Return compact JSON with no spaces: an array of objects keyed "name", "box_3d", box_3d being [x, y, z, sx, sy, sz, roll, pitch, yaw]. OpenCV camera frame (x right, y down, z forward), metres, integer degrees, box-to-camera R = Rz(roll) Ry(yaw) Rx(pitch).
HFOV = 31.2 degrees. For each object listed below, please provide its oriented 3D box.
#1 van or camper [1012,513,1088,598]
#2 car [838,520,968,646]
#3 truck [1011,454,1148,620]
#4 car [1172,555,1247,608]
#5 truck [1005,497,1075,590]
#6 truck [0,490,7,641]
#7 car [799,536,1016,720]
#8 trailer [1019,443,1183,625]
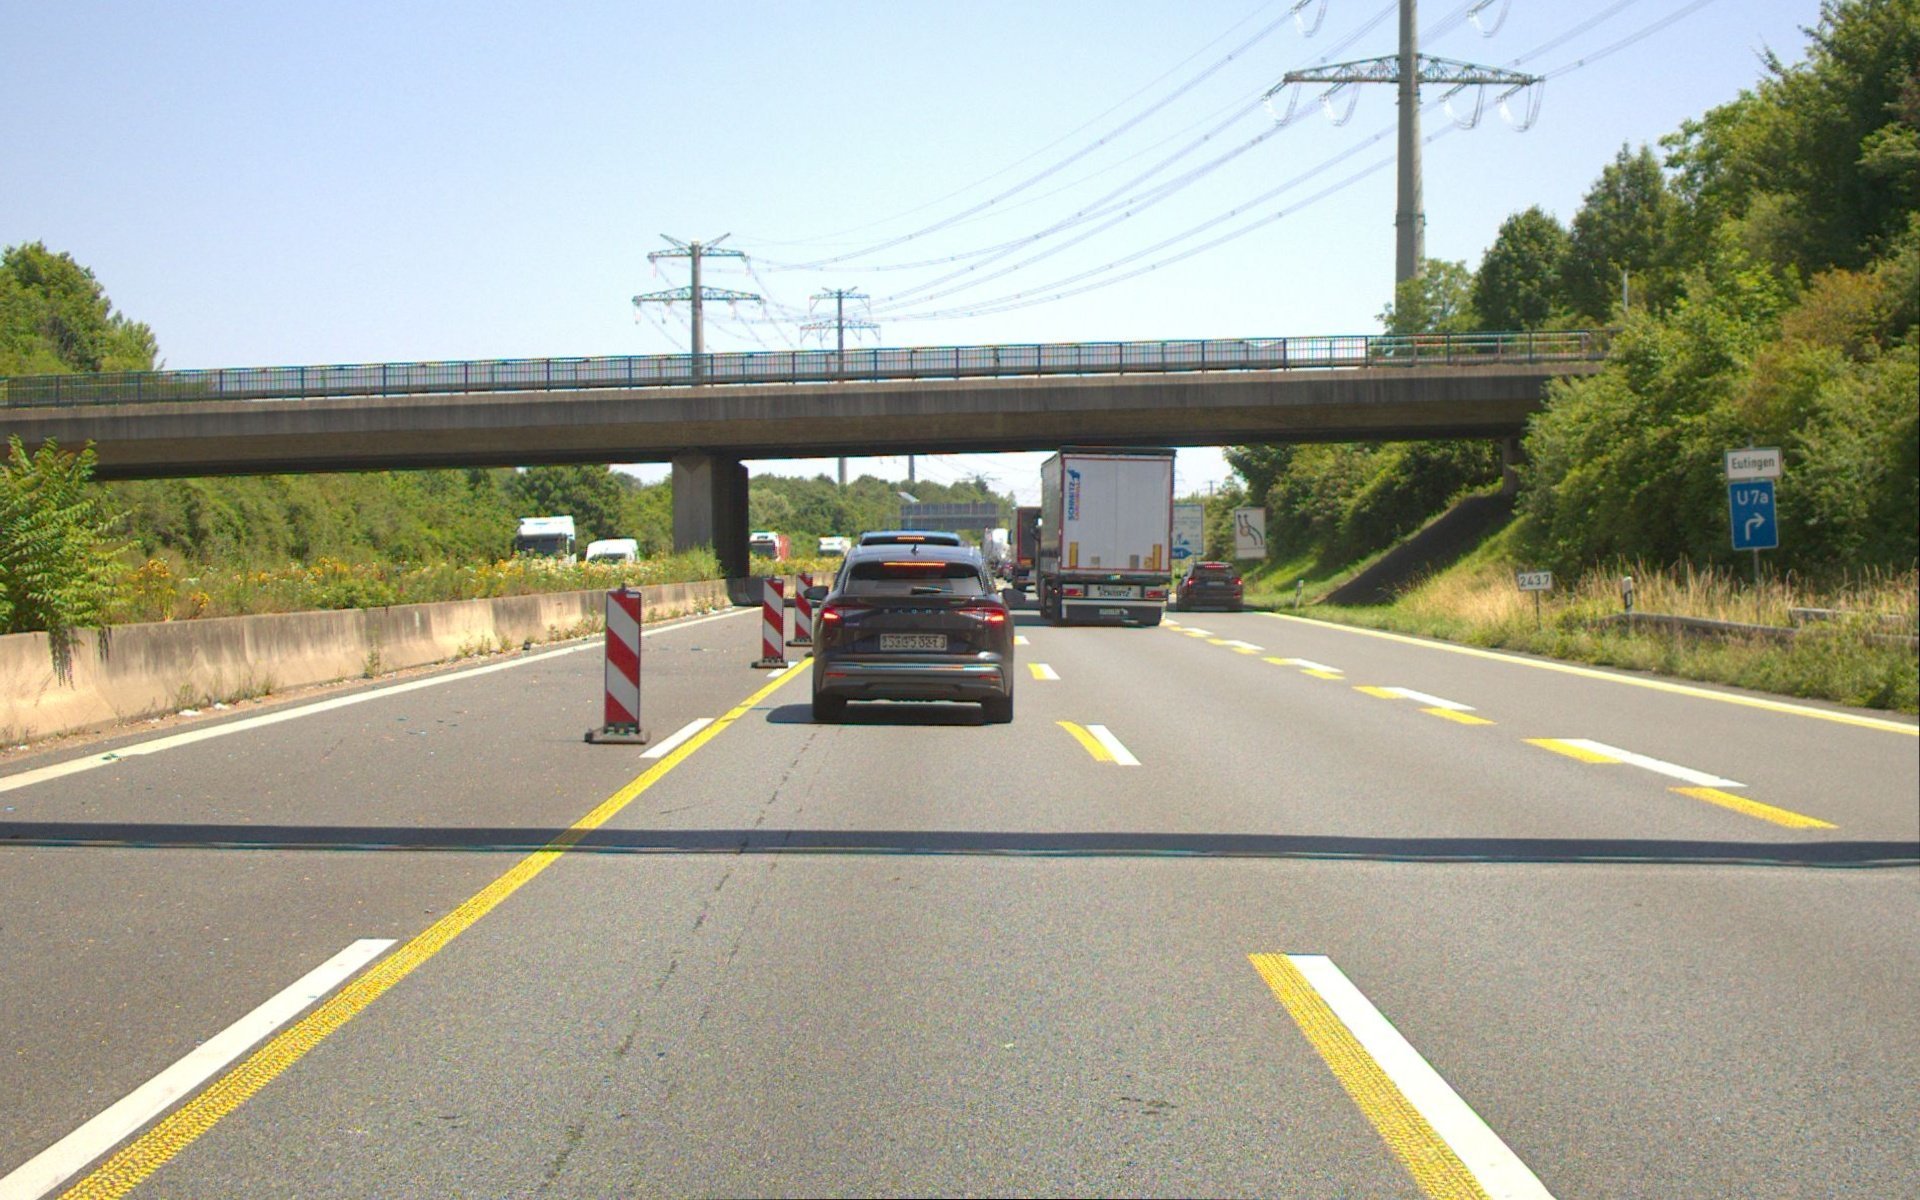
[{"name":"van or camper","box_3d":[3.243,-1.645,125.116,2.586,2.958,6.085,-1,1,1]},{"name":"car","box_3d":[-0.891,-0.257,52.761,1.895,1.835,4.443,0,0,-1]},{"name":"truck","box_3d":[3.017,-1.631,89.093,3.024,4.073,7.796,0,1,-2]},{"name":"car","box_3d":[7.320,-0.575,101.275,1.779,1.484,4.464,1,1,-1]},{"name":"truck","box_3d":[3.686,-2.638,161.259,3.078,4.132,13.054,1,1,1]},{"name":"truck","box_3d":[-21.978,-0.692,71.633,2.495,3.248,6.365,-1,1,-1]},{"name":"car","box_3d":[-0.512,0.201,32.325,1.895,1.586,4.443,0,1,-1]},{"name":"trailer","box_3d":[3.236,-1.567,82.296,3.065,4.028,11.489,0,1,-2]}]
